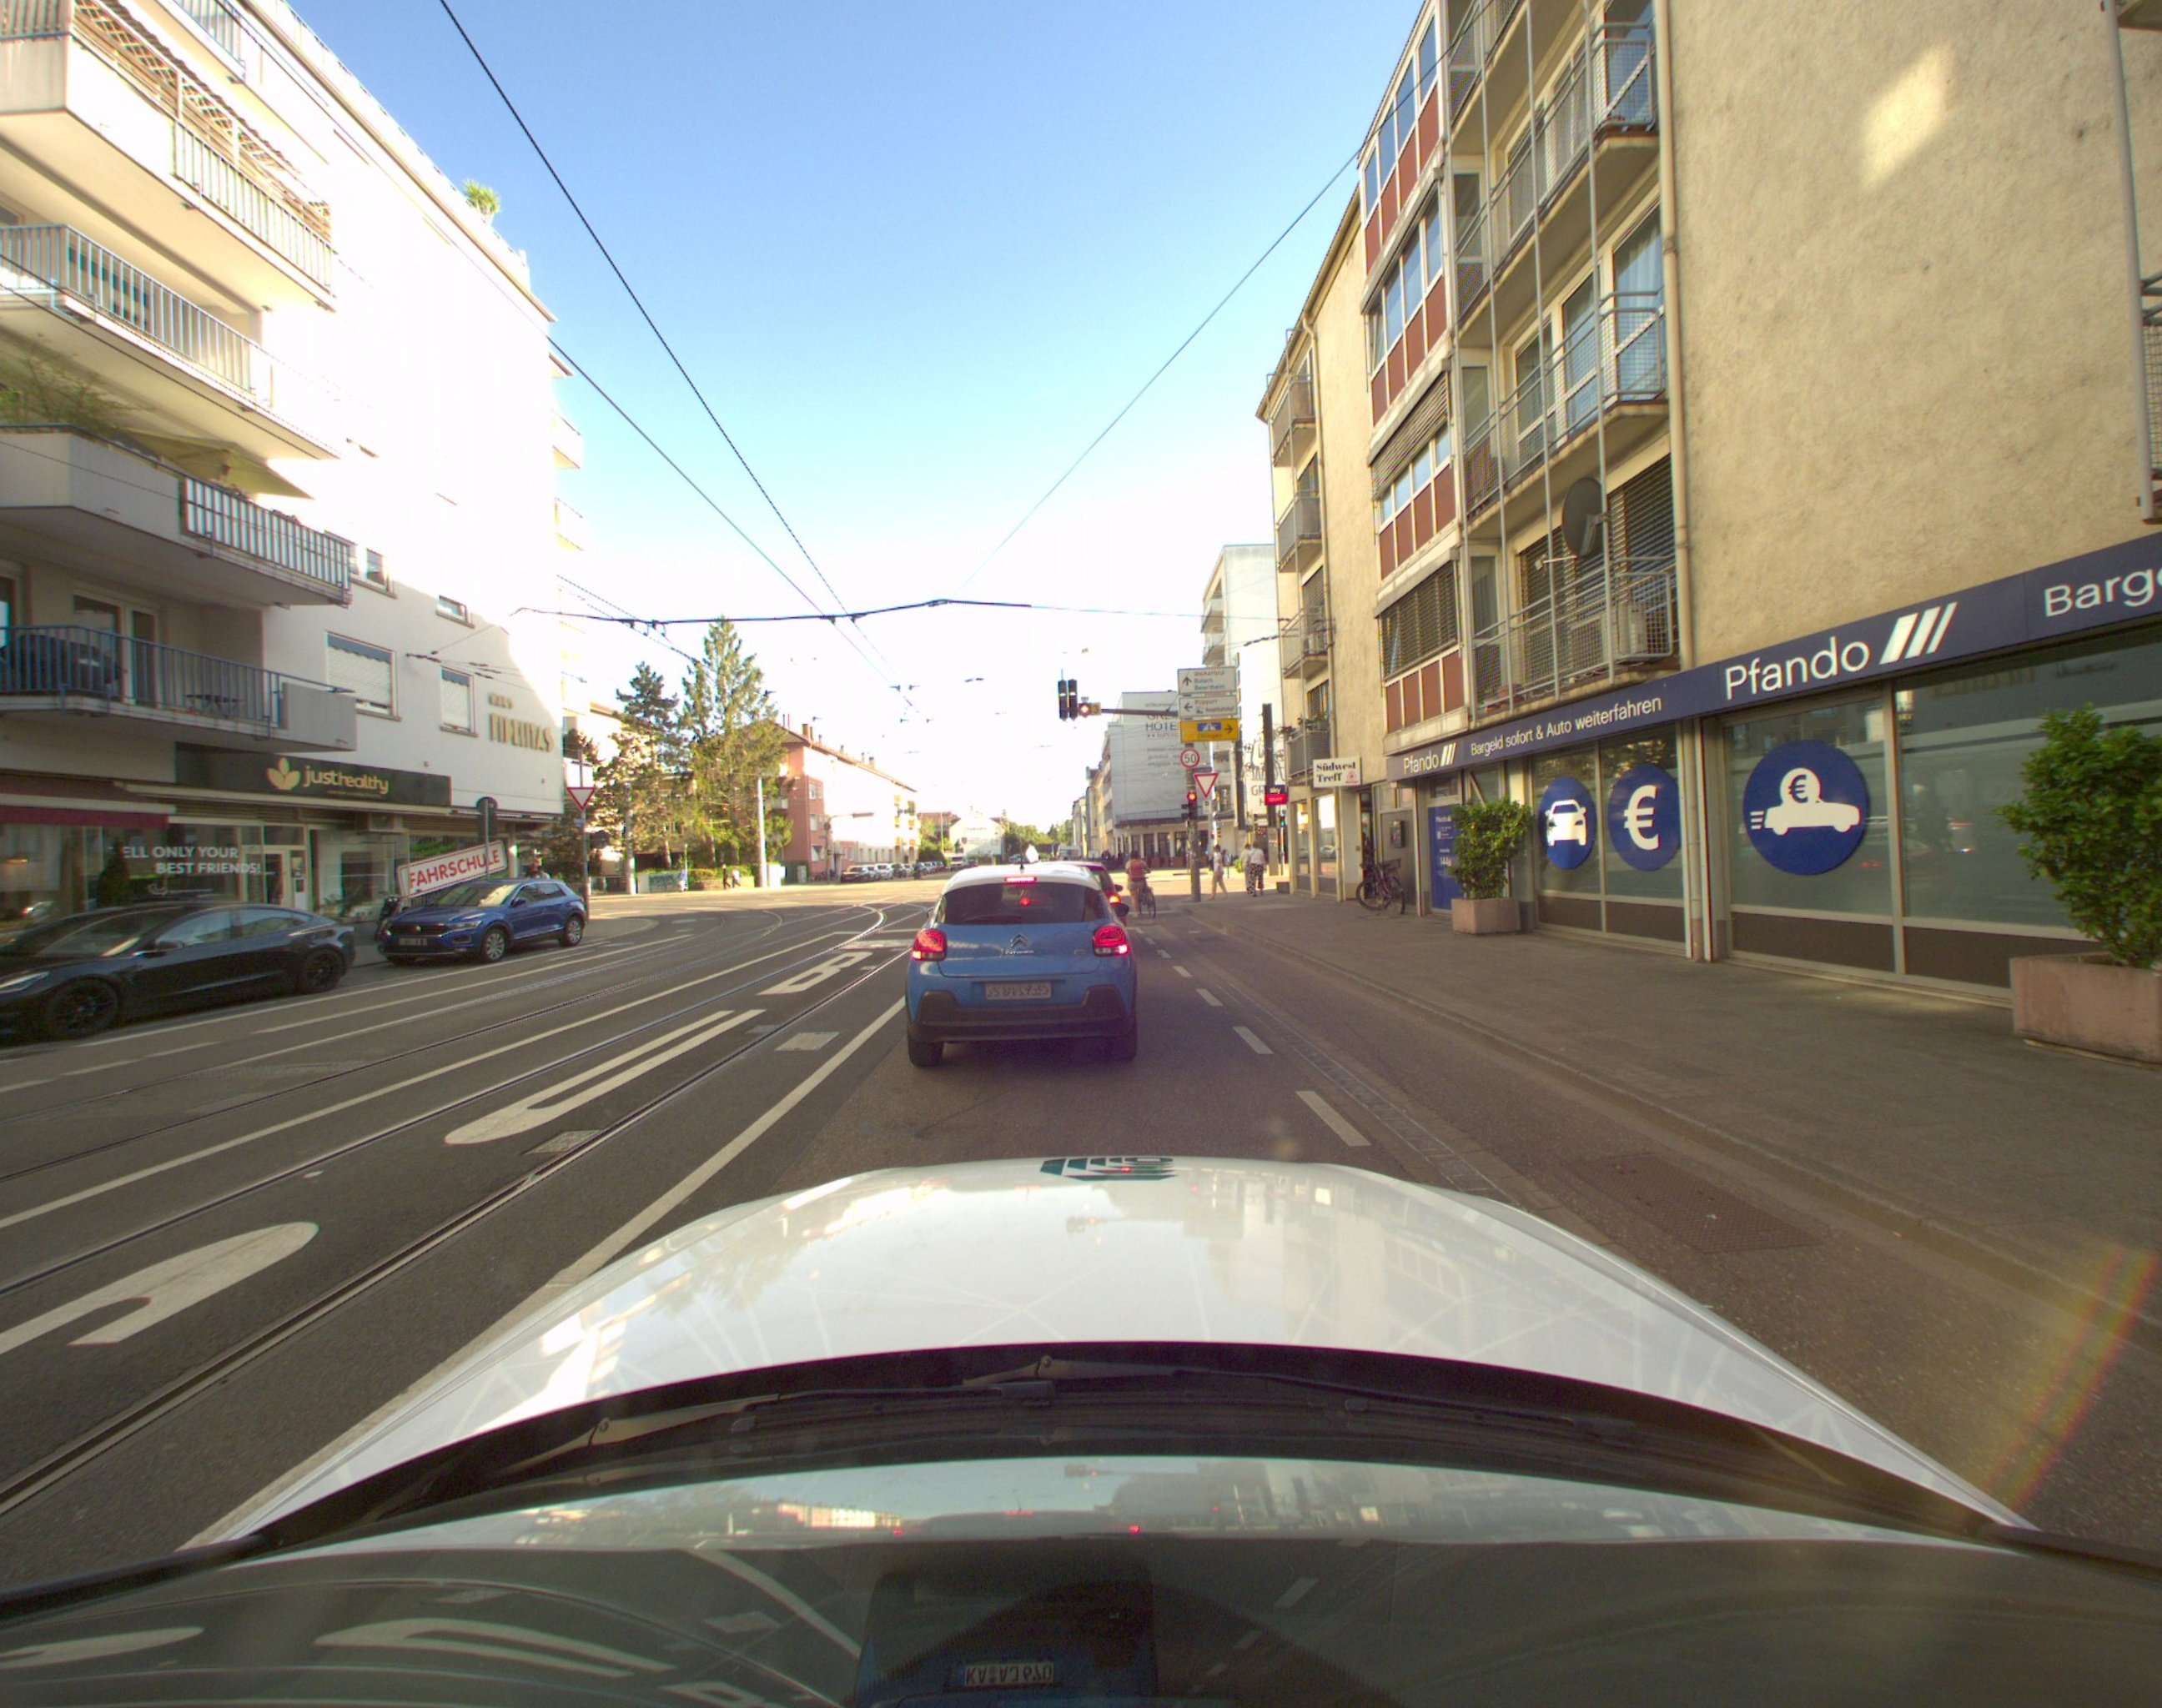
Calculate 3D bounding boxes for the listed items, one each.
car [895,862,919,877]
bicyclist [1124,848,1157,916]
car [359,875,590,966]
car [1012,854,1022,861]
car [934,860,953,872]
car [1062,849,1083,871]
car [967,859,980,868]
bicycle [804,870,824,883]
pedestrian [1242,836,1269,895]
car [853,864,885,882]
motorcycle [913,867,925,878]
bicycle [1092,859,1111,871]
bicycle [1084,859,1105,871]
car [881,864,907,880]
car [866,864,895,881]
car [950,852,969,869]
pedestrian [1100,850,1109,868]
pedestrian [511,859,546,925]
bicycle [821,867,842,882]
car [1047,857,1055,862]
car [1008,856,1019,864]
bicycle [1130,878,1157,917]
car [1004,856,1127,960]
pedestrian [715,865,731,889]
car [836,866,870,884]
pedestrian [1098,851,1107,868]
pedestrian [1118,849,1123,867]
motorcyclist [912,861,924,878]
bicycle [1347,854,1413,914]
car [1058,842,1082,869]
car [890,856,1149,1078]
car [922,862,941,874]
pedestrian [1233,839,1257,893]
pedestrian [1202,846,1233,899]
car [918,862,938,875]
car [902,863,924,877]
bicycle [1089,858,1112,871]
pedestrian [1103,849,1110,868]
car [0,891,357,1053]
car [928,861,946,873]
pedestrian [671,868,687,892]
[{"bbox_3d":[-19.816,1.750,92.757,1.906,1.497,3.997,-3,0,-2],"label":"car"},{"bbox_3d":[1.475,0.682,20.393,0.723,1.646,0.790,-2,0,1],"label":"bicyclist"},{"bbox_3d":[-11.872,1.220,16.325,1.740,1.509,3.996,-1,-1,-2],"label":"car"},{"bbox_3d":[-14.681,0.846,188.061,2.016,1.525,3.997,-3,0,-2],"label":"car"},{"bbox_3d":[-20.577,1.813,122.290,2.024,1.619,4.509,-3,0,-1],"label":"car"},{"bbox_3d":[-0.727,0.462,67.721,1.727,1.750,3.212,-1,0,-1],"label":"car"},{"bbox_3d":[-19.146,1.734,145.175,2.016,1.525,3.997,-2,0,-2],"label":"car"},{"bbox_3d":[-22.370,1.858,68.281,0.730,0.952,2.597,-2,0,0],"label":"bicycle"},{"bbox_3d":[5.162,0.329,24.075,0.539,1.672,0.650,-4,0,0],"label":"pedestrian"},{"bbox_3d":[-19.527,1.724,75.194,1.906,1.497,3.997,-3,0,-2],"label":"car"},{"bbox_3d":[-13.489,1.552,67.771,0.613,0.864,1.671,-2,0,2],"label":"motorcycle"},{"bbox_3d":[1.659,0.884,66.126,1.497,0.957,0.702,-3,0,3],"label":"bicycle"},{"bbox_3d":[1.124,0.915,68.558,1.713,0.957,0.702,-3,0,3],"label":"bicycle"},{"bbox_3d":[-19.816,1.884,86.614,1.906,1.497,3.997,-3,0,-2],"label":"car"},{"bbox_3d":[-19.590,1.778,79.822,1.906,1.497,3.997,-3,0,-2],"label":"car"},{"bbox_3d":[-17.882,0.942,119.953,2.201,2.251,4.673,-3,0,-2],"label":"car"},{"bbox_3d":[2.109,0.464,72.847,0.648,1.556,0.490,-2,0,-20],"label":"pedestrian"},{"bbox_3d":[-17.296,1.193,25.516,0.684,2.013,0.486,-2,0,1],"label":"pedestrian"},{"bbox_3d":[-22.817,1.874,74.414,0.845,1.225,3.304,-2,0,0],"label":"bicycle"},{"bbox_3d":[-8.060,1.336,217.065,1.752,1.259,3.825,-2,0,-5],"label":"car"},{"bbox_3d":[-14.073,1.323,169.990,2.016,1.525,3.997,-2,0,-2],"label":"car"},{"bbox_3d":[1.568,1.082,20.642,0.497,0.864,1.748,-2,0,0],"label":"bicycle"},{"bbox_3d":[-0.161,0.793,13.781,1.732,1.420,4.002,-2,0,2],"label":"car"},{"bbox_3d":[-25.313,1.642,57.596,0.836,1.690,0.741,-2,0,44],"label":"pedestrian"},{"bbox_3d":[-19.432,1.767,69.460,1.907,1.433,3.995,-3,0,-4],"label":"car"},{"bbox_3d":[1.986,0.479,74.654,0.648,1.556,0.490,-2,0,-20],"label":"pedestrian"},{"bbox_3d":[3.406,0.351,70.247,0.284,1.556,0.304,-2,0,-7],"label":"pedestrian"},{"bbox_3d":[-13.495,1.264,67.617,0.716,1.378,0.912,-2,0,2],"label":"motorcyclist"},{"bbox_3d":[5.762,0.549,15.786,0.528,1.072,1.810,-2,0,-1],"label":"bicycle"},{"bbox_3d":[-1.008,0.153,72.648,1.988,2.325,3.998,-1,0,-1],"label":"car"},{"bbox_3d":[-0.546,0.769,7.562,1.740,1.462,3.994,-1,0,-4],"label":"car"},{"bbox_3d":[-20.537,1.896,111.762,1.906,1.497,3.997,-3,0,-2],"label":"car"},{"bbox_3d":[5.267,0.375,26.175,0.539,1.672,0.624,-4,1,0],"label":"pedestrian"},{"bbox_3d":[4.072,0.537,24.270,0.544,1.507,0.605,-5,2,-27],"label":"pedestrian"},{"bbox_3d":[-20.035,1.851,106.748,1.906,1.497,3.997,-3,0,-2],"label":"car"},{"bbox_3d":[-20.229,1.875,98.342,1.906,1.497,3.997,-3,0,-2],"label":"car"},{"bbox_3d":[1.602,0.891,67.187,1.866,0.957,0.702,-3,0,3],"label":"bicycle"},{"bbox_3d":[2.192,0.385,70.069,0.490,1.556,0.383,-2,0,-2],"label":"pedestrian"},{"bbox_3d":[-11.968,1.314,10.386,1.695,1.509,4.309,-1,-1,-2],"label":"car"},{"bbox_3d":[-20.620,1.877,116.861,1.865,1.574,3.997,-2,0,-2],"label":"car"},{"bbox_3d":[-27.987,1.813,56.685,0.854,1.625,0.510,-2,0,-32],"label":"pedestrian"}]
